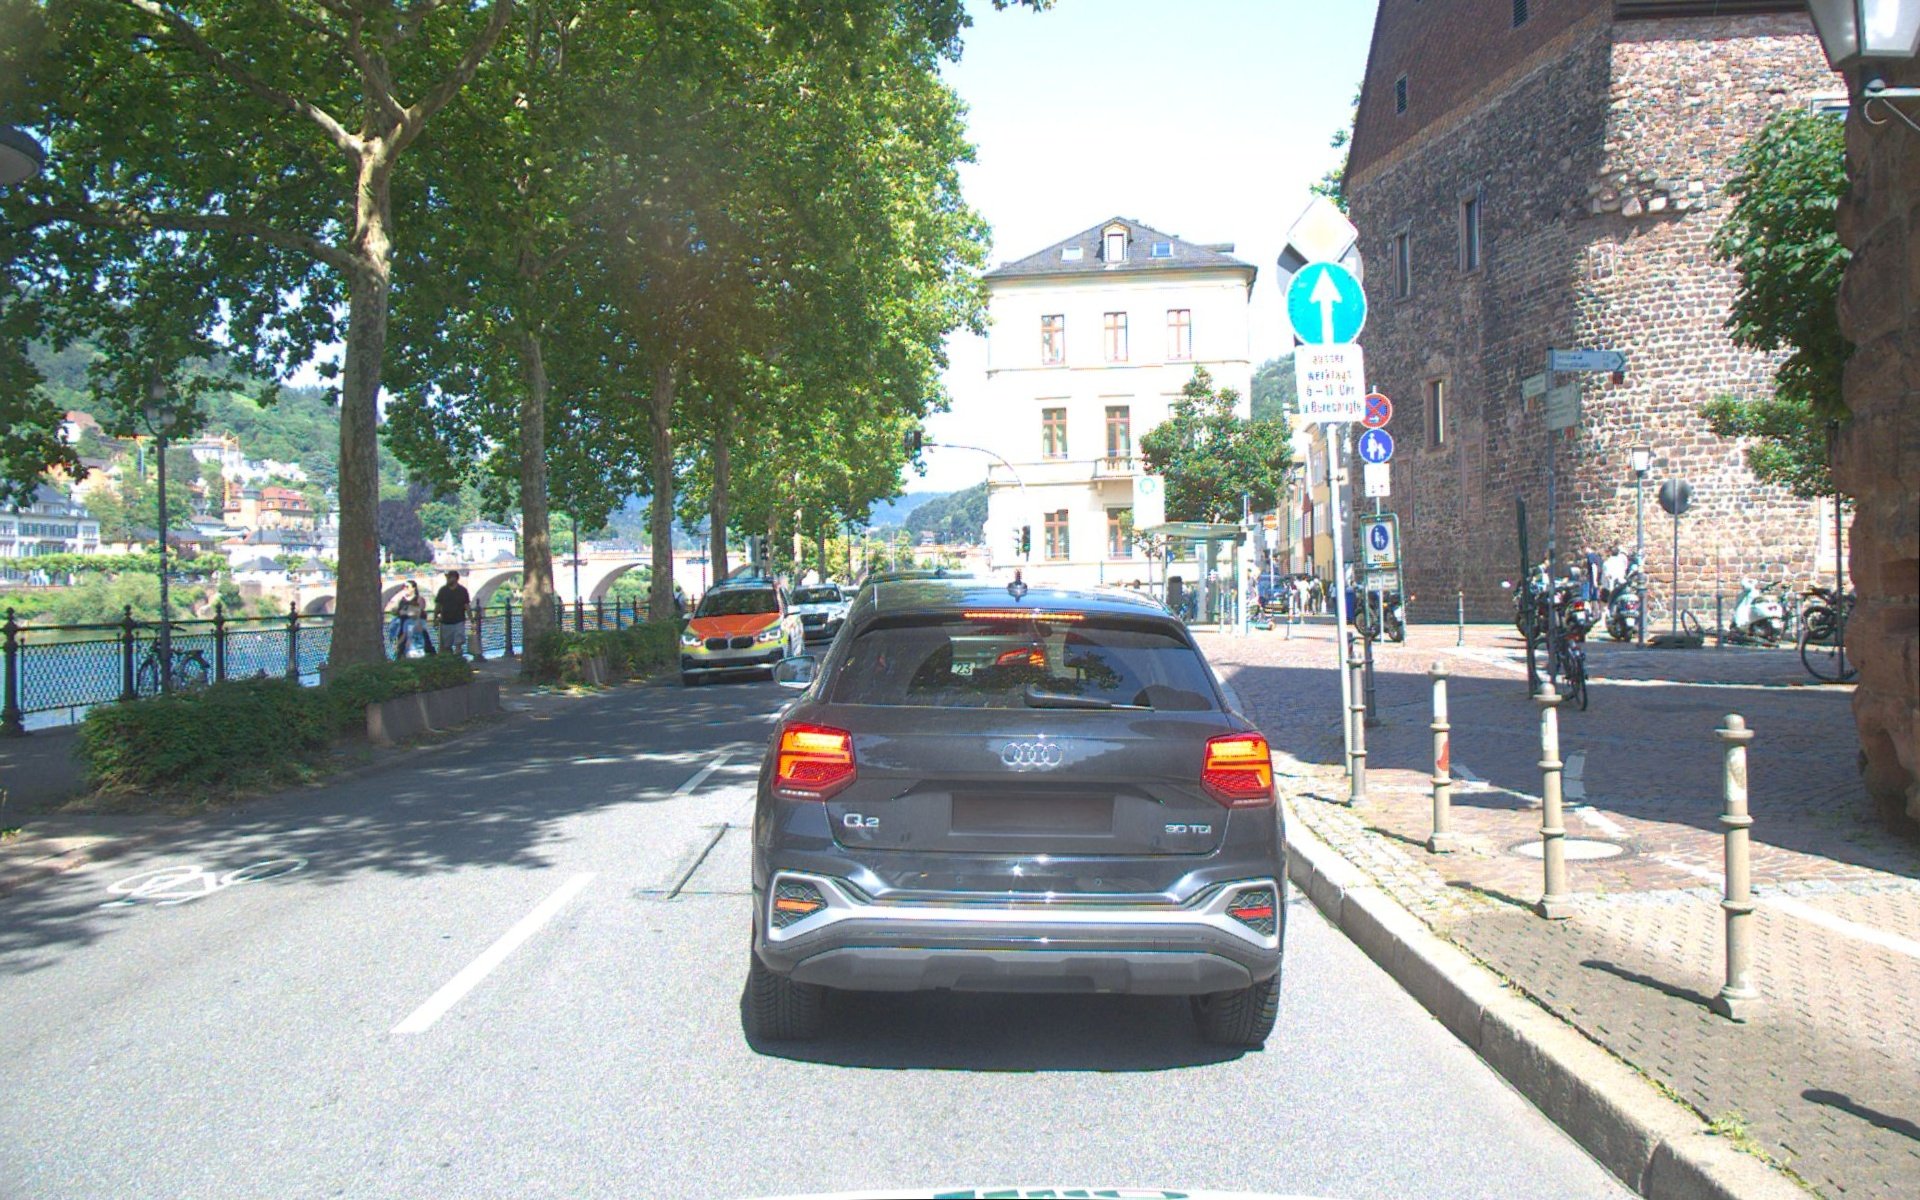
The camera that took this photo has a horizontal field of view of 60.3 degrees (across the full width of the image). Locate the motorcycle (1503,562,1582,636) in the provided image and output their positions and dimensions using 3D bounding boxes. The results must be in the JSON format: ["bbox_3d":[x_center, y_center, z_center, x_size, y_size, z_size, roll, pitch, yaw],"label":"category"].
[{"bbox_3d":[10.586,-0.012,30.139,0.642,1.288,2.199,0,0,-1],"label":"motorcycle"}]

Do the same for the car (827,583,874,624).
[{"bbox_3d":[-4.670,0.136,70.966,1.703,1.599,4.091,-4,1,-1],"label":"car"}]

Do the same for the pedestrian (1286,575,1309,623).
[{"bbox_3d":[14.502,-0.036,71.044,0.822,2.049,0.738,1,-1,-1],"label":"pedestrian"}]

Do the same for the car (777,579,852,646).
[{"bbox_3d":[-4.000,0.318,45.914,1.733,1.689,3.999,-3,0,-1],"label":"car"}]

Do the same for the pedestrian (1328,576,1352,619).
[{"bbox_3d":[14.853,-0.085,64.658,0.677,1.640,0.891,-2,0,24],"label":"pedestrian"}]

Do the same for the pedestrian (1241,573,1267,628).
[{"bbox_3d":[7.573,0.013,42.610,0.546,1.409,0.588,1,-1,1],"label":"pedestrian"}]

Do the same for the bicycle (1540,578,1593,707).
[{"bbox_3d":[6.153,0.400,16.820,0.189,1.225,1.771,0,1,10],"label":"bicycle"}]

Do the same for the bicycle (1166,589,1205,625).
[{"bbox_3d":[6.684,0.216,49.031,1.184,1.053,0.178,1,-1,-20],"label":"bicycle"}]

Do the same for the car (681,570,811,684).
[{"bbox_3d":[-3.561,0.412,28.157,1.639,1.689,4.222,-3,0,-1],"label":"car"}]

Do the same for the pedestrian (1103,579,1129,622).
[{"bbox_3d":[4.608,0.008,48.889,0.651,1.253,0.640,1,-1,-7],"label":"pedestrian"}]

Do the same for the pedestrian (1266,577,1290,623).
[{"bbox_3d":[14.265,0.004,74.222,0.925,2.049,0.807,1,-1,-1],"label":"pedestrian"}]

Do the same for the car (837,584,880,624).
[{"bbox_3d":[-5.050,0.153,82.857,1.777,1.754,4.421,-6,1,-1],"label":"car"}]

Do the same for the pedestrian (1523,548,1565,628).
[{"bbox_3d":[12.569,-0.263,35.598,0.791,1.691,0.656,-1,0,24],"label":"pedestrian"}]

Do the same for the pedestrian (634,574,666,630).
[{"bbox_3d":[-10.253,0.074,54.759,0.891,1.843,0.586,1,-1,3],"label":"pedestrian"}]

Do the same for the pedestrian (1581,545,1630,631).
[{"bbox_3d":[14.586,-0.273,37.386,0.665,1.917,0.808,1,-1,-43],"label":"pedestrian"}]

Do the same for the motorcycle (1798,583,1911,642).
[{"bbox_3d":[16.911,0.240,31.289,1.826,1.072,0.480,1,-1,7],"label":"motorcycle"}]

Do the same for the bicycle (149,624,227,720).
[{"bbox_3d":[-9.533,0.873,20.460,0.352,1.110,1.295,2,0,-2],"label":"bicycle"}]

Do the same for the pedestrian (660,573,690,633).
[{"bbox_3d":[-9.870,0.107,57.298,0.891,2.049,0.586,1,-1,3],"label":"pedestrian"}]

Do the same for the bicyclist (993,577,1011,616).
[{"bbox_3d":[1.572,-0.138,62.508,0.593,1.475,0.590,1,-1,-6],"label":"bicyclist"}]

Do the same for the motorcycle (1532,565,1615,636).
[{"bbox_3d":[11.426,0.019,30.895,0.661,1.257,2.312,1,0,-1],"label":"motorcycle"}]

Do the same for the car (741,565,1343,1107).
[{"bbox_3d":[0.213,0.663,6.584,1.707,1.535,3.646,1,1,-1],"label":"car"}]

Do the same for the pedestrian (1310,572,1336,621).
[{"bbox_3d":[15.565,-0.148,70.914,0.921,2.049,0.807,1,-1,1],"label":"pedestrian"}]

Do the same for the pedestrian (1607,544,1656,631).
[{"bbox_3d":[15.338,-0.271,37.773,0.665,1.954,0.808,1,-1,-42],"label":"pedestrian"}]

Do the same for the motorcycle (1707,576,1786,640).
[{"bbox_3d":[14.055,0.140,29.602,0.496,1.092,1.840,1,0,-1],"label":"motorcycle"}]

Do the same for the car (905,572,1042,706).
[{"bbox_3d":[0.141,0.459,22.059,1.676,1.637,3.654,0,0,-1],"label":"car"}]

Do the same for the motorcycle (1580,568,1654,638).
[{"bbox_3d":[12.229,0.052,30.832,0.535,1.257,2.030,1,0,-1],"label":"motorcycle"}]

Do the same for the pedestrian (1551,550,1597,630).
[{"bbox_3d":[14.305,-0.240,38.554,0.832,1.834,0.650,0,0,43],"label":"pedestrian"}]

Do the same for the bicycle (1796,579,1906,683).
[{"bbox_3d":[10.619,0.344,19.769,0.437,1.182,1.731,-1,1,3],"label":"bicycle"}]

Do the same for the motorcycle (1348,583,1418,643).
[{"bbox_3d":[7.695,0.215,30.201,0.555,1.030,2.489,-1,1,-2],"label":"motorcycle"}]

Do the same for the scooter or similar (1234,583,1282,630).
[{"bbox_3d":[7.112,0.155,39.491,1.067,1.084,0.323,1,-1,-3],"label":"scooter or similar"}]

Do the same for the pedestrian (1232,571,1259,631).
[{"bbox_3d":[9.245,0.044,53.548,0.732,1.923,0.752,1,-1,1],"label":"pedestrian"}]

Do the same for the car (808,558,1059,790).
[{"bbox_3d":[-0.213,0.515,13.481,1.756,1.623,3.398,1,0,-1],"label":"car"}]

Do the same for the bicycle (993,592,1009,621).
[{"bbox_3d":[1.552,0.249,62.512,0.428,1.105,1.675,1,0,-5],"label":"bicycle"}]

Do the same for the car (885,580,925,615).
[{"bbox_3d":[-2.994,-0.127,90.427,1.952,1.838,4.000,1,0,1],"label":"car"}]

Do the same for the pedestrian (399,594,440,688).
[{"bbox_3d":[-8.054,0.599,24.647,0.469,1.386,0.417,0,0,3],"label":"pedestrian"}]

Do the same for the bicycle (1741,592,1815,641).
[{"bbox_3d":[15.128,0.292,30.617,0.346,0.835,1.926,1,1,-2],"label":"bicycle"}]

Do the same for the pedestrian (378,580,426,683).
[{"bbox_3d":[-9.411,0.521,27.912,0.589,1.715,0.583,-1,0,-2],"label":"pedestrian"}]

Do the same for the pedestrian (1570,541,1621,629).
[{"bbox_3d":[15.028,-0.346,39.143,0.720,2.049,0.871,1,-1,-24],"label":"pedestrian"}]

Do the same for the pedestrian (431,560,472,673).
[{"bbox_3d":[-8.755,0.282,28.483,0.523,1.920,0.436,1,0,-1],"label":"pedestrian"}]

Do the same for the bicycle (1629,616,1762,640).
[{"bbox_3d":[12.300,0.464,27.724,1.887,0.388,0.918,0,-1,14],"label":"bicycle"}]

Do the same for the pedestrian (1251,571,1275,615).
[{"bbox_3d":[11.488,-0.275,62.715,0.760,1.649,0.645,-2,0,1],"label":"pedestrian"}]

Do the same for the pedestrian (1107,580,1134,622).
[{"bbox_3d":[4.682,0.031,48.167,0.651,1.233,0.640,1,-1,-7],"label":"pedestrian"}]

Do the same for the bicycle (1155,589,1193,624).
[{"bbox_3d":[6.429,0.195,49.655,1.166,1.033,0.178,1,-1,-20],"label":"bicycle"}]
